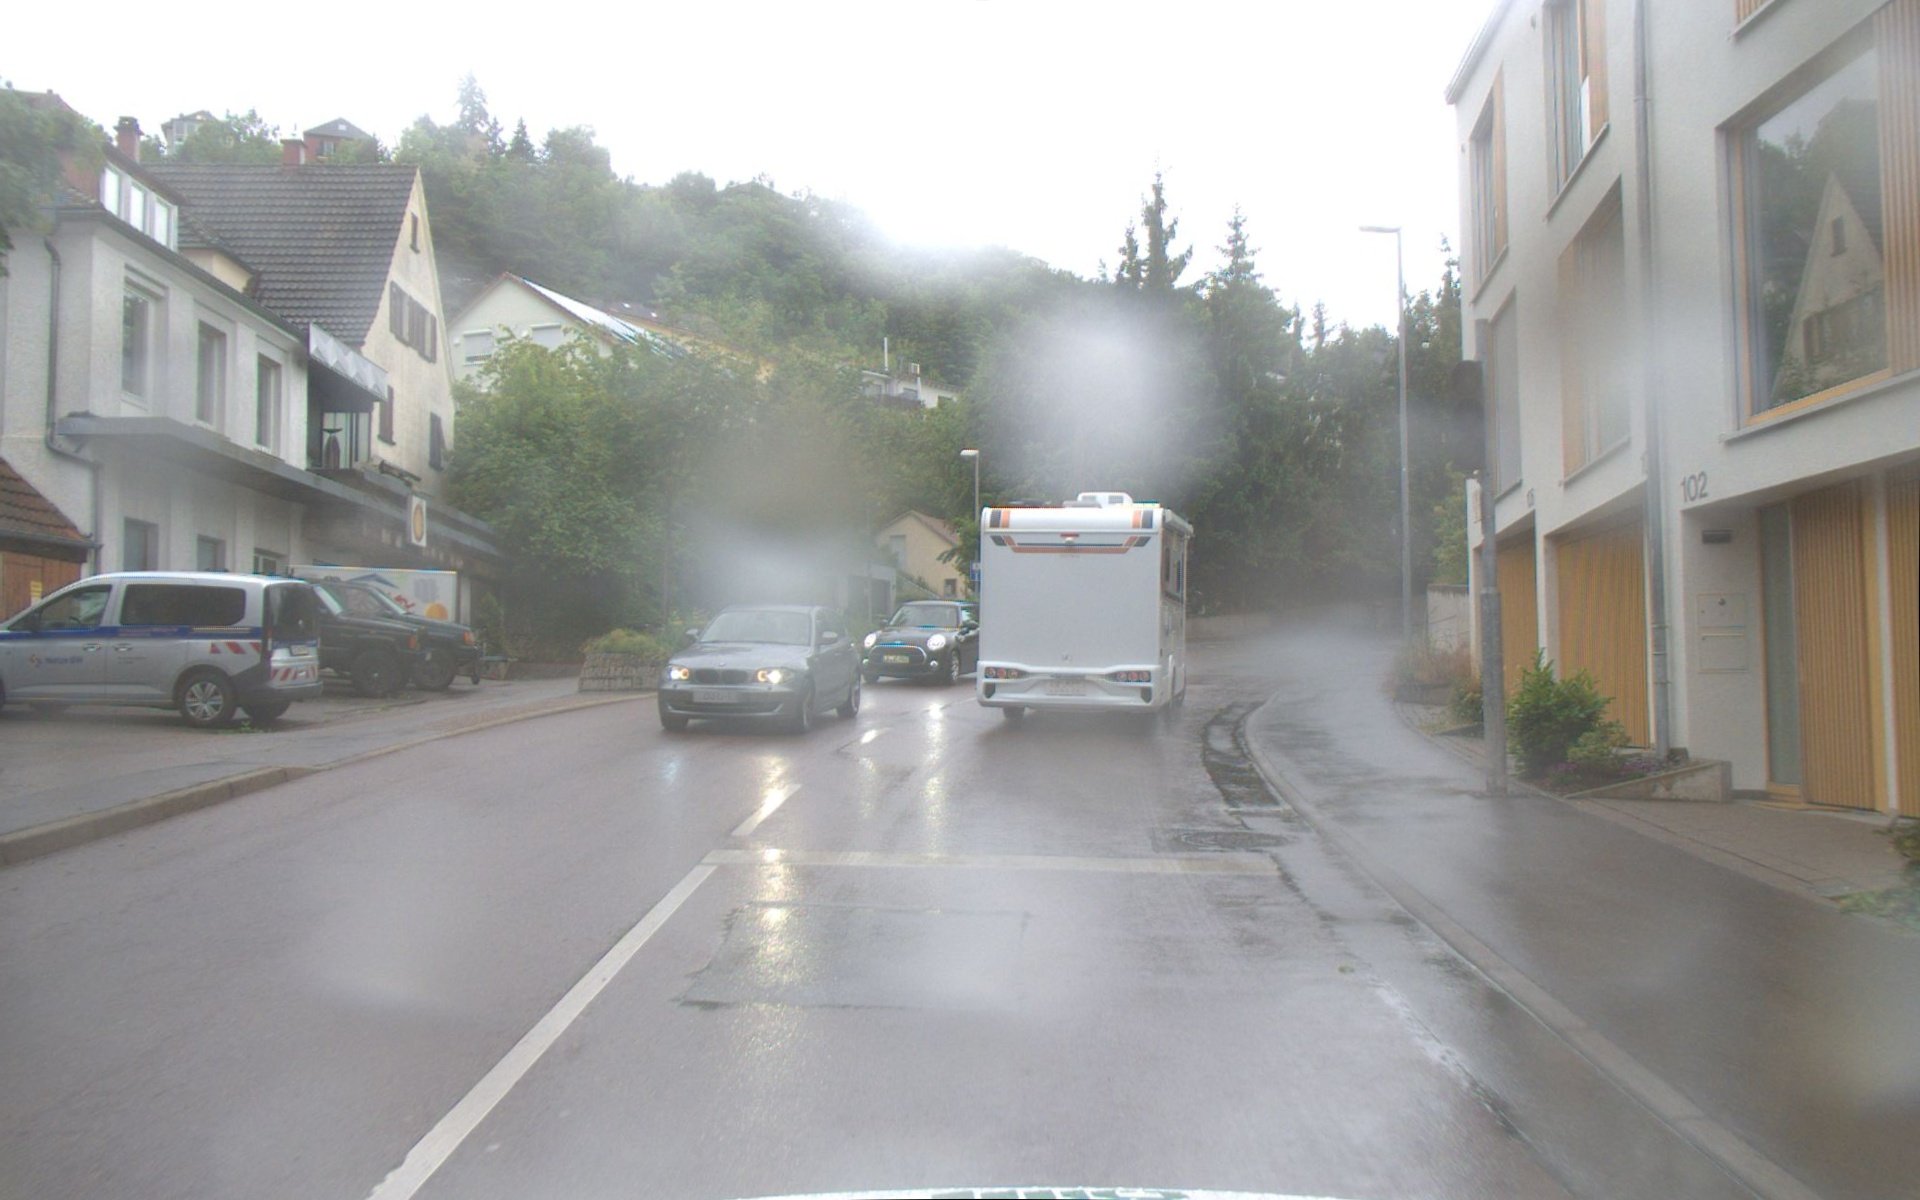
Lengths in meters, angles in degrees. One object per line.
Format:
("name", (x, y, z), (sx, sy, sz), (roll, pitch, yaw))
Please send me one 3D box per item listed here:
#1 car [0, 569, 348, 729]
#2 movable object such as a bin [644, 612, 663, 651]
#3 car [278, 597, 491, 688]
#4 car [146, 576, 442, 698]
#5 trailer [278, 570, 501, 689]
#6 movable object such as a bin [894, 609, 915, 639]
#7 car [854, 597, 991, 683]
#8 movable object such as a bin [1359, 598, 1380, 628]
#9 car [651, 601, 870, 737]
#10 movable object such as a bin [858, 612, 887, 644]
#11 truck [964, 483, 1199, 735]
("car", (-9.896, 0.563, 20.250), (4.022, 1.831, 2.000), (1, 0, 0))
("movable object such as a bin", (-8.587, 0.880, 46.417), (0.358, 1.082, 0.500), (0, 0, 11))
("car", (-9.935, 0.716, 28.785), (3.277, 1.511, 1.834), (1, 0, -13))
("car", (-10.400, 0.576, 26.110), (4.004, 1.805, 1.794), (1, 0, -11))
("trailer", (-10.992, 0.549, 31.844), (3.896, 2.139, 1.939), (-1, -1, -24))
("movable object such as a bin", (-2.339, 0.987, 69.441), (0.690, 1.244, 0.591), (0, 0, 19))
("car", (-0.613, 0.673, 29.714), (1.641, 1.430, 3.681), (0, 0, 12))
("movable object such as a bin", (13.998, 0.445, 56.499), (0.486, 0.996, 0.494), (-2, 1, -41))
("car", (-2.264, 0.748, 19.797), (1.780, 1.447, 3.902), (1, 0, 6))
("movable object such as a bin", (-3.315, 1.060, 62.837), (0.834, 1.219, 0.933), (0, 0, 17))
("truck", (1.827, 0.094, 22.100), (2.461, 2.867, 6.206), (0, 0, 10))
